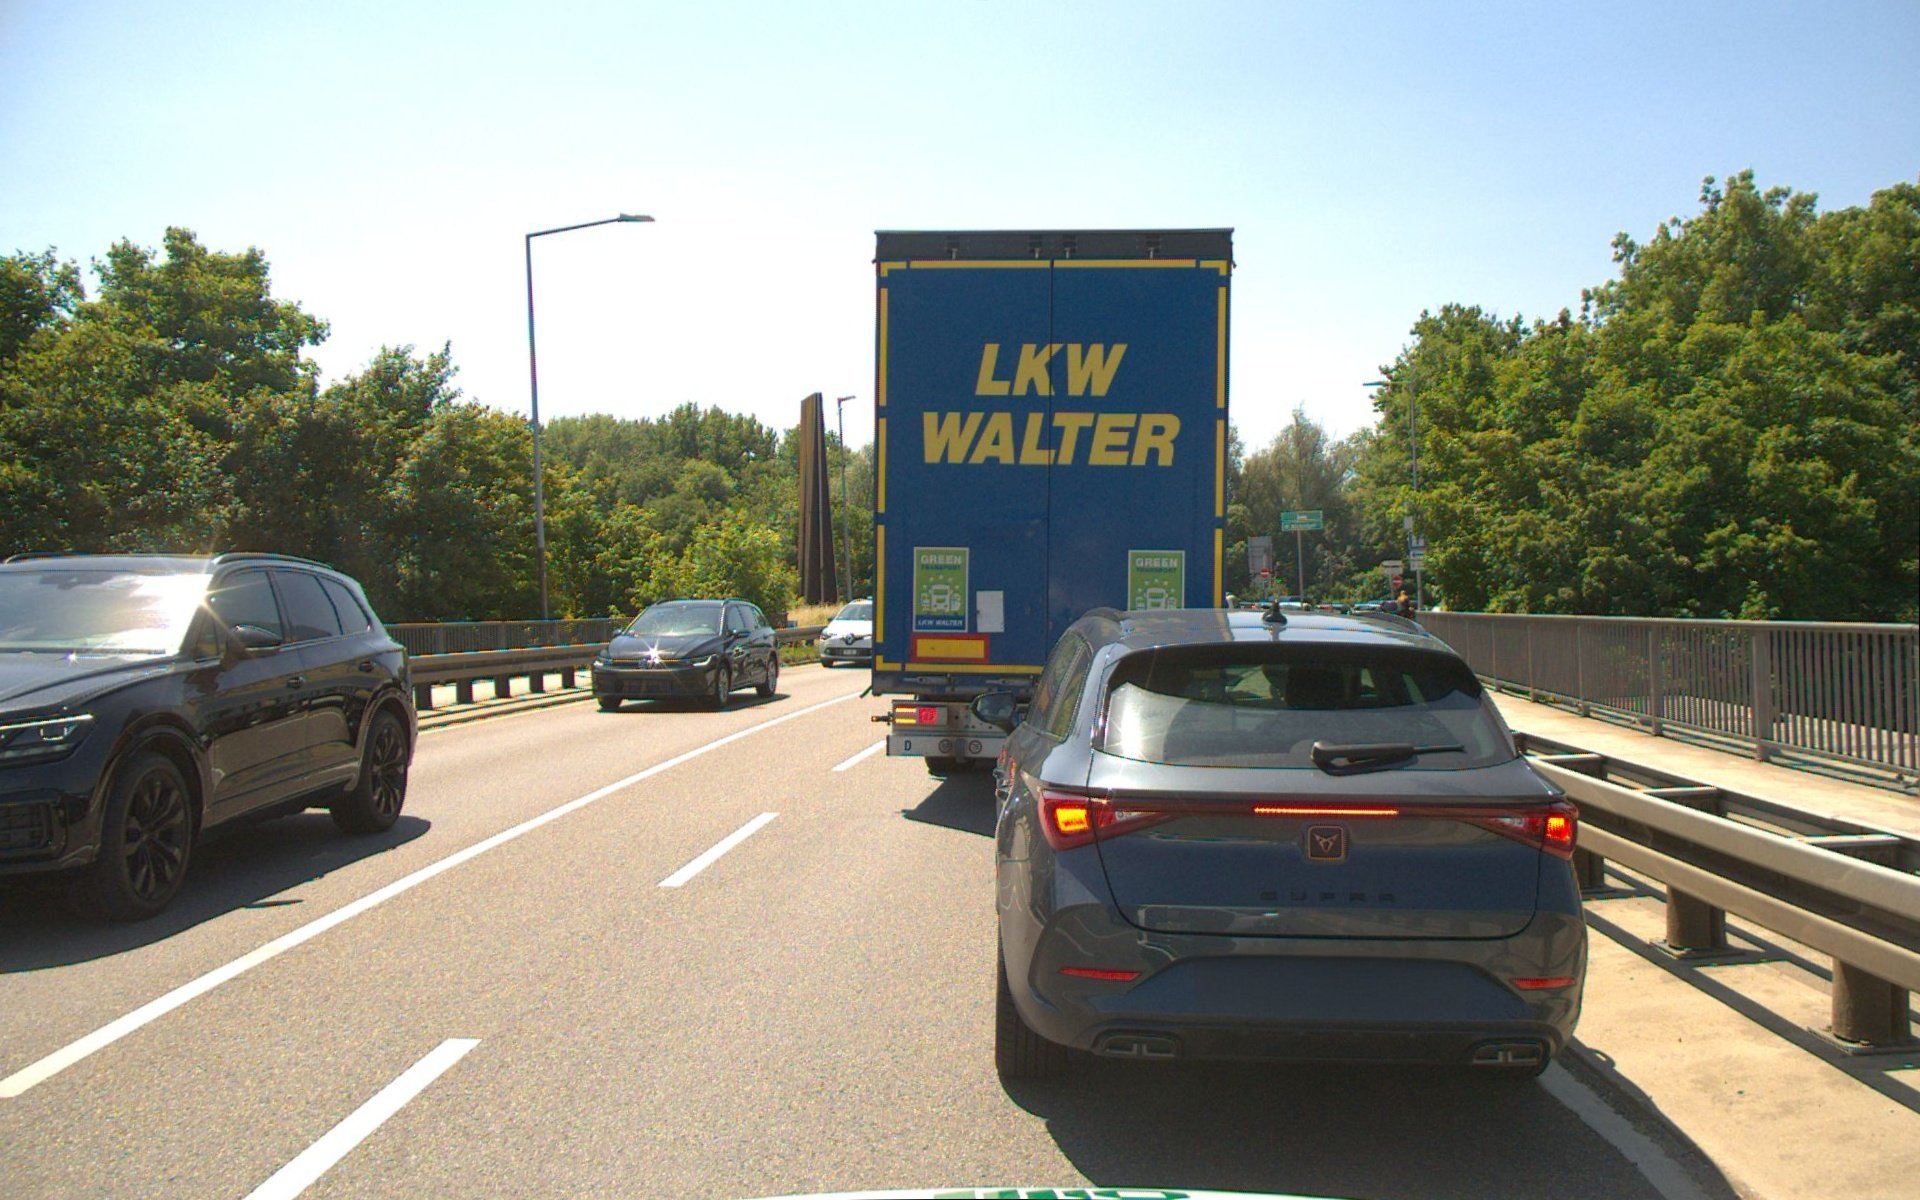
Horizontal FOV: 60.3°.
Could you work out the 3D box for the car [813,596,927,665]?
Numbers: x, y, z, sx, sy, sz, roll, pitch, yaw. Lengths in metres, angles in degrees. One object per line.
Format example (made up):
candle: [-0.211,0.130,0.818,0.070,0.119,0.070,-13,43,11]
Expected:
car: [-1.987,0.655,37.680,1.565,1.474,4.059,0,0,13]

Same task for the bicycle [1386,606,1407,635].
bicycle: [16.439,0.769,62.247,0.569,1.053,1.486,-3,0,9]

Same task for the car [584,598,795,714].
car: [-3.757,0.726,23.805,1.673,1.494,4.463,0,0,9]

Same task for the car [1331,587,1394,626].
car: [18.190,0.320,74.712,1.954,1.603,3.996,2,-1,26]

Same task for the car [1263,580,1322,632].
car: [12.442,0.196,61.717,1.685,1.876,4.002,0,0,18]

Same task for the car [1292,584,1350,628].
car: [14.951,0.265,68.405,1.651,1.791,3.999,0,-1,22]

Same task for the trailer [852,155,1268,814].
trailer: [1.411,-0.829,17.625,2.843,4.496,12.442,0,0,7]

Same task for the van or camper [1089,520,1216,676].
van or camper: [4.035,-0.052,33.708,2.108,2.865,6.393,0,0,11]

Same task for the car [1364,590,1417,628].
car: [21.029,0.448,80.701,1.653,1.791,3.995,0,-1,28]

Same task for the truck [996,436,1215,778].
truck: [2.310,0.065,25.115,2.843,4.496,6.560,0,0,7]

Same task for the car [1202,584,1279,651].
car: [8.081,0.462,47.459,1.684,1.834,4.002,0,0,17]

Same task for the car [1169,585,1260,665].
car: [6.374,0.565,41.115,1.684,1.876,4.002,0,1,17]

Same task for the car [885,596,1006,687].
car: [-0.189,0.678,29.239,1.641,1.435,3.978,-2,0,6]

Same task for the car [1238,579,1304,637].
car: [10.511,0.241,55.675,1.685,1.876,4.002,0,0,18]

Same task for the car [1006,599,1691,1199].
car: [0.989,0.738,5.967,1.642,1.481,3.959,0,0,1]

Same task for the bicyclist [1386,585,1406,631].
bicyclist: [16.415,0.298,62.239,0.565,1.712,0.730,-3,0,9]

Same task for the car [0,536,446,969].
car: [-4.514,0.602,8.842,1.925,1.702,4.615,0,0,2]
